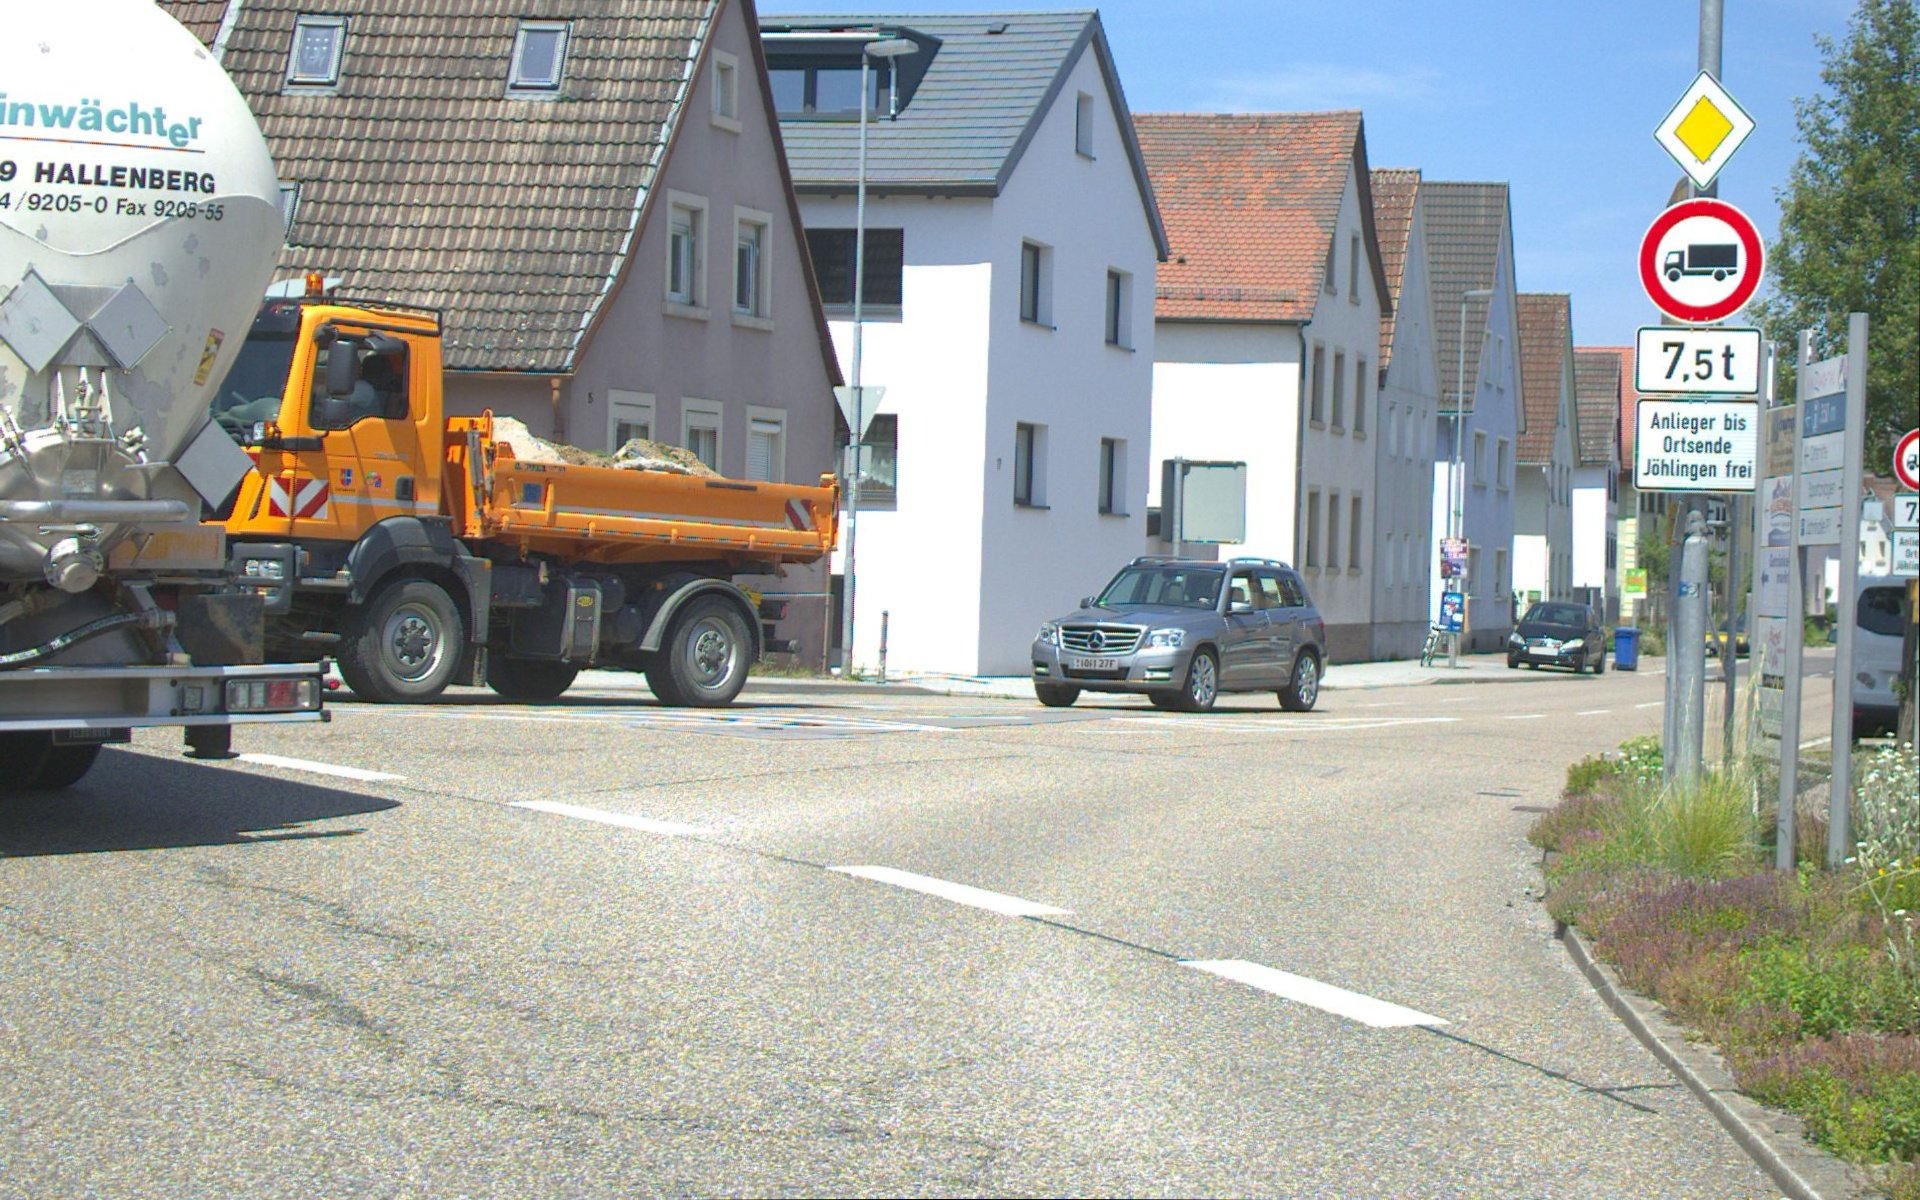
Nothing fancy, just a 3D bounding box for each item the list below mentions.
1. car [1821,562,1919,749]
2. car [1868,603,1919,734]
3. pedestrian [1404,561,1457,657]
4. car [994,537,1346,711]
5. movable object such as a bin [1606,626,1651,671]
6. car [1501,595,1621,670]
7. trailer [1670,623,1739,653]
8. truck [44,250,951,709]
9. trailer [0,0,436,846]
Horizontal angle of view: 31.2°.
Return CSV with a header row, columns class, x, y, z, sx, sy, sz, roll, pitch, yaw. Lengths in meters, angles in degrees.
class,x,y,z,sx,sy,sz,roll,pitch,yaw
car,10.674,0.666,38.092,1.995,1.906,4.320,3,-1,16
car,13.020,0.891,45.234,1.819,1.629,4.204,2,1,18
pedestrian,10.095,0.186,73.726,0.770,2.007,0.975,3,1,24
car,2.323,0.283,36.857,1.997,1.669,4.305,3,0,30
movable object such as a bin,16.408,1.186,84.354,0.921,1.045,0.942,3,1,19
car,13.897,0.750,79.348,1.720,1.590,3.995,3,1,24
trailer,23.162,1.177,107.041,1.951,0.775,2.719,3,1,10
truck,-3.537,-0.811,28.300,2.667,3.170,7.445,2,-1,39
trailer,-7.139,-1.227,18.481,2.953,3.934,11.616,2,1,-39
